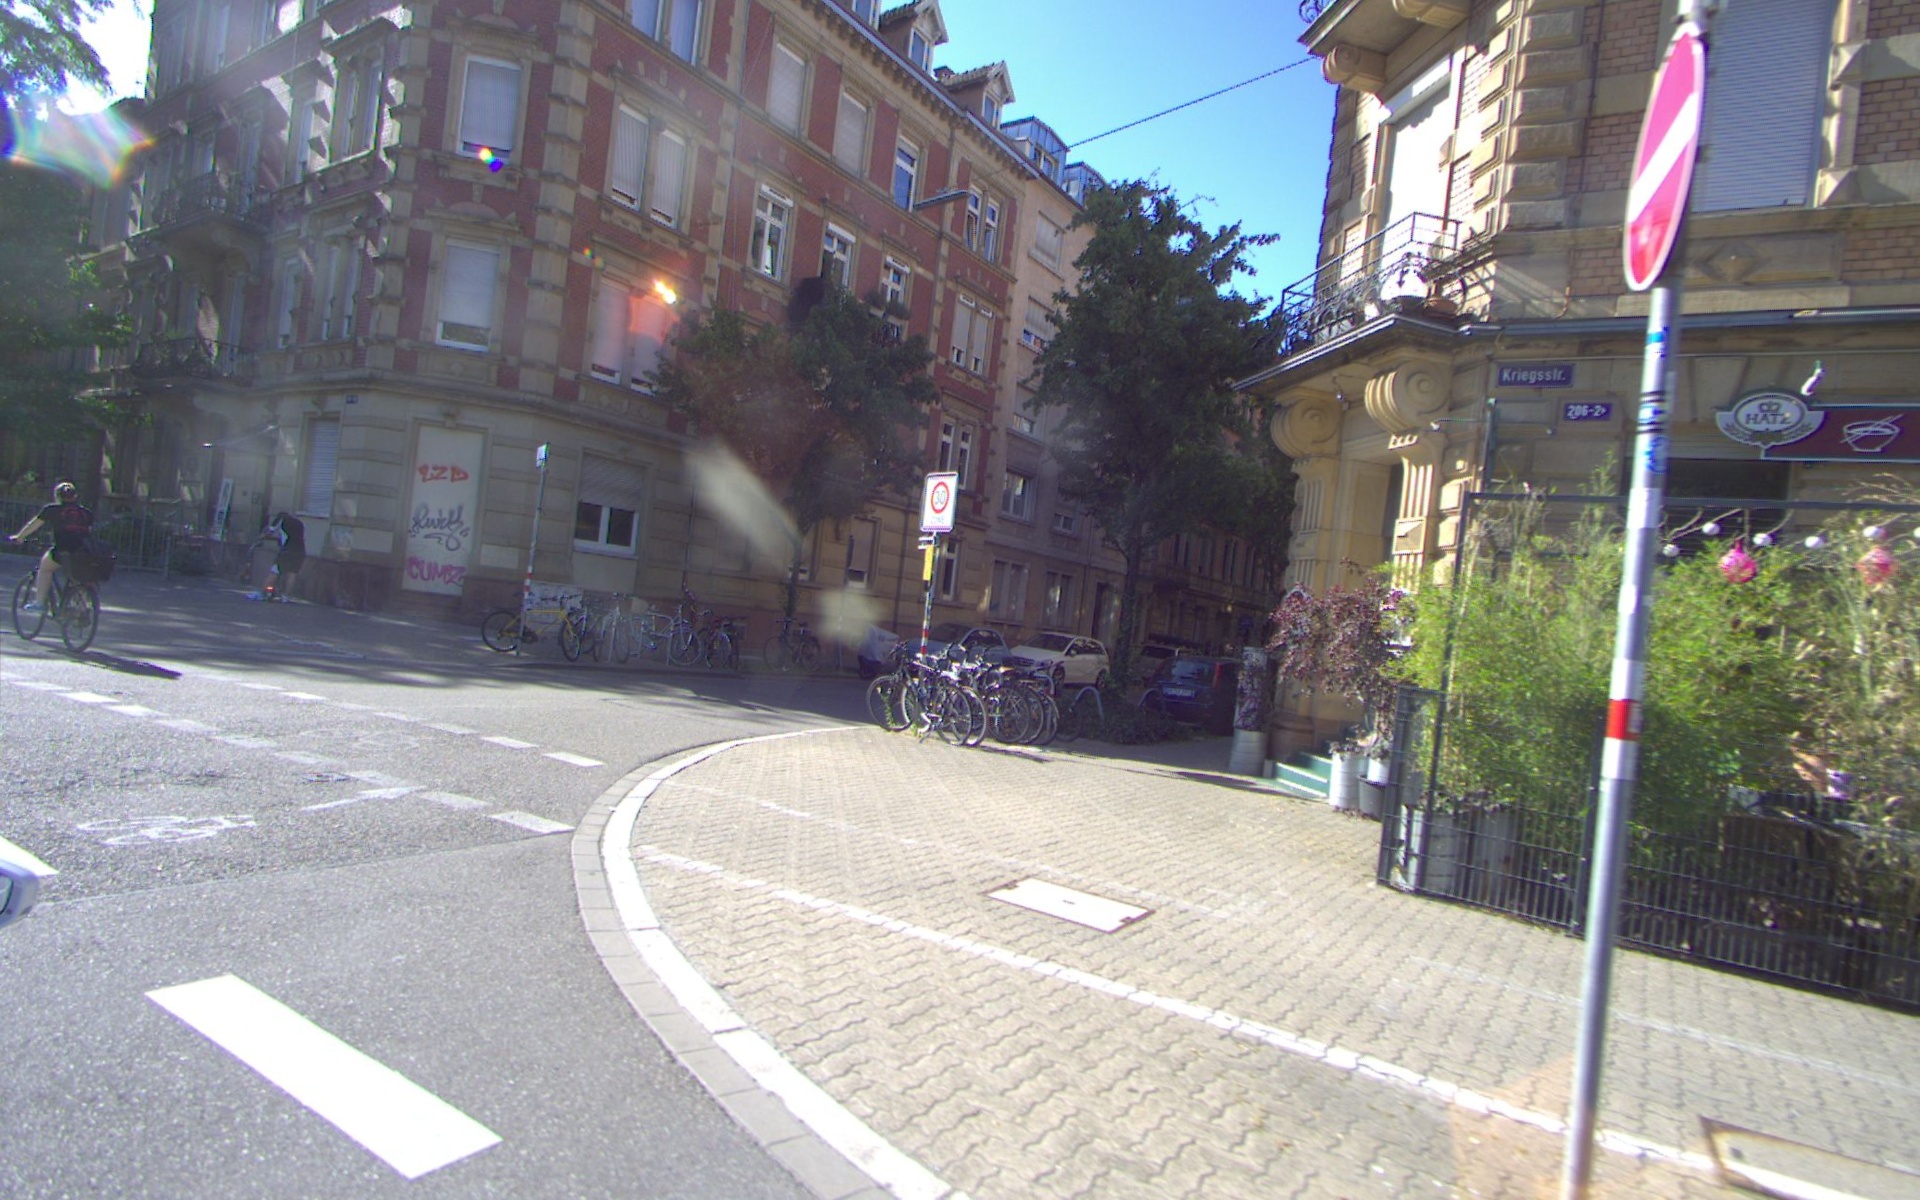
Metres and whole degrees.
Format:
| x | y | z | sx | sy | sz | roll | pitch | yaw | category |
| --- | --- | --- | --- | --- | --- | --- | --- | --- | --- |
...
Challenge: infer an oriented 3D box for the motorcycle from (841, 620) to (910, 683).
| x | y | z | sx | sy | sz | roll | pitch | yaw | category |
| --- | --- | --- | --- | --- | --- | --- | --- | --- | --- |
| -1.990 | 1.179 | 23.342 | 0.985 | 1.299 | 2.407 | 6 | -3 | -18 | motorcycle |

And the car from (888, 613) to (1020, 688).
| x | y | z | sx | sy | sz | roll | pitch | yaw | category |
| --- | --- | --- | --- | --- | --- | --- | --- | --- | --- |
| -0.103 | 1.313 | 25.630 | 1.539 | 1.486 | 3.244 | 9 | 0 | 37 | car |

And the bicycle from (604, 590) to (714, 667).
| x | y | z | sx | sy | sz | roll | pitch | yaw | category |
| --- | --- | --- | --- | --- | --- | --- | --- | --- | --- |
| -5.513 | 0.507 | 18.384 | 2.000 | 1.145 | 0.727 | 7 | 0 | 35 | bicycle |

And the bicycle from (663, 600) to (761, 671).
| x | y | z | sx | sy | sz | roll | pitch | yaw | category |
| --- | --- | --- | --- | --- | --- | --- | --- | --- | --- |
| -4.847 | 0.676 | 19.563 | 2.000 | 1.145 | 0.560 | 7 | 0 | 35 | bicycle |

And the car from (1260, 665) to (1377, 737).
| x | y | z | sx | sy | sz | roll | pitch | yaw | category |
| --- | --- | --- | --- | --- | --- | --- | --- | --- | --- |
| 8.865 | 2.499 | 24.725 | 1.692 | 1.450 | 3.397 | 5 | -3 | 37 | car |

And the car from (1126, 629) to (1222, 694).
| x | y | z | sx | sy | sz | roll | pitch | yaw | category |
| --- | --- | --- | --- | --- | --- | --- | --- | --- | --- |
| 7.958 | 2.317 | 37.177 | 1.733 | 1.983 | 3.988 | 7 | -2 | 37 | car |

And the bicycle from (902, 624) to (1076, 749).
| x | y | z | sx | sy | sz | roll | pitch | yaw | category |
| --- | --- | --- | --- | --- | --- | --- | --- | --- | --- |
| 0.338 | 1.048 | 12.565 | 2.033 | 1.250 | 0.579 | 7 | 0 | 32 | bicycle |

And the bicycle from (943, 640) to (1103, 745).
| x | y | z | sx | sy | sz | roll | pitch | yaw | category |
| --- | --- | --- | --- | --- | --- | --- | --- | --- | --- |
| 0.833 | 1.226 | 13.666 | 2.033 | 1.108 | 0.579 | 7 | 0 | 32 | bicycle |

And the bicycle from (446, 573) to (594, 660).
| x | y | z | sx | sy | sz | roll | pitch | yaw | category |
| --- | --- | --- | --- | --- | --- | --- | --- | --- | --- |
| -6.903 | 0.265 | 15.891 | 1.940 | 1.108 | 0.693 | 7 | 0 | -14 | bicycle |

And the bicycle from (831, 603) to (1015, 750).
| x | y | z | sx | sy | sz | roll | pitch | yaw | category |
| --- | --- | --- | --- | --- | --- | --- | --- | --- | --- |
| -0.465 | 0.865 | 11.786 | 2.033 | 1.414 | 0.579 | 7 | 0 | 32 | bicycle |

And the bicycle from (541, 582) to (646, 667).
| x | y | z | sx | sy | sz | roll | pitch | yaw | category |
| --- | --- | --- | --- | --- | --- | --- | --- | --- | --- |
| -6.291 | 0.403 | 17.197 | 1.940 | 1.108 | 0.579 | 10 | 1 | 37 | bicycle |

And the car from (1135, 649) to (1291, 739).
| x | y | z | sx | sy | sz | roll | pitch | yaw | category |
| --- | --- | --- | --- | --- | --- | --- | --- | --- | --- |
| 5.039 | 1.873 | 19.771 | 1.692 | 1.450 | 3.397 | 5 | -3 | 37 | car |

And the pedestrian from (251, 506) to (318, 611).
| x | y | z | sx | sy | sz | roll | pitch | yaw | category |
| --- | --- | --- | --- | --- | --- | --- | --- | --- | --- |
| -12.536 | -0.763 | 18.681 | 0.740 | 1.836 | 0.656 | 4 | -3 | 35 | pedestrian |

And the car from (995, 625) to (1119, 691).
| x | y | z | sx | sy | sz | roll | pitch | yaw | category |
| --- | --- | --- | --- | --- | --- | --- | --- | --- | --- |
| 2.944 | 1.757 | 29.802 | 1.539 | 1.528 | 4.228 | 8 | -1 | 37 | car |

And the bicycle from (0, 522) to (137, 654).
| x | y | z | sx | sy | sz | roll | pitch | yaw | category |
| --- | --- | --- | --- | --- | --- | --- | --- | --- | --- |
| -9.778 | -0.151 | 10.863 | 1.927 | 1.235 | 0.741 | 7 | 2 | 32 | bicycle |

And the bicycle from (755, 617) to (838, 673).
| x | y | z | sx | sy | sz | roll | pitch | yaw | category |
| --- | --- | --- | --- | --- | --- | --- | --- | --- | --- |
| -3.371 | 0.962 | 20.907 | 0.552 | 1.002 | 1.836 | 12 | 2 | 28 | bicycle |

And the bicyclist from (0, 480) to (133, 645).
| x | y | z | sx | sy | sz | roll | pitch | yaw | category |
| --- | --- | --- | --- | --- | --- | --- | --- | --- | --- |
| -9.733 | -0.400 | 10.890 | 1.082 | 1.599 | 0.743 | 8 | 0 | 32 | bicyclist |
